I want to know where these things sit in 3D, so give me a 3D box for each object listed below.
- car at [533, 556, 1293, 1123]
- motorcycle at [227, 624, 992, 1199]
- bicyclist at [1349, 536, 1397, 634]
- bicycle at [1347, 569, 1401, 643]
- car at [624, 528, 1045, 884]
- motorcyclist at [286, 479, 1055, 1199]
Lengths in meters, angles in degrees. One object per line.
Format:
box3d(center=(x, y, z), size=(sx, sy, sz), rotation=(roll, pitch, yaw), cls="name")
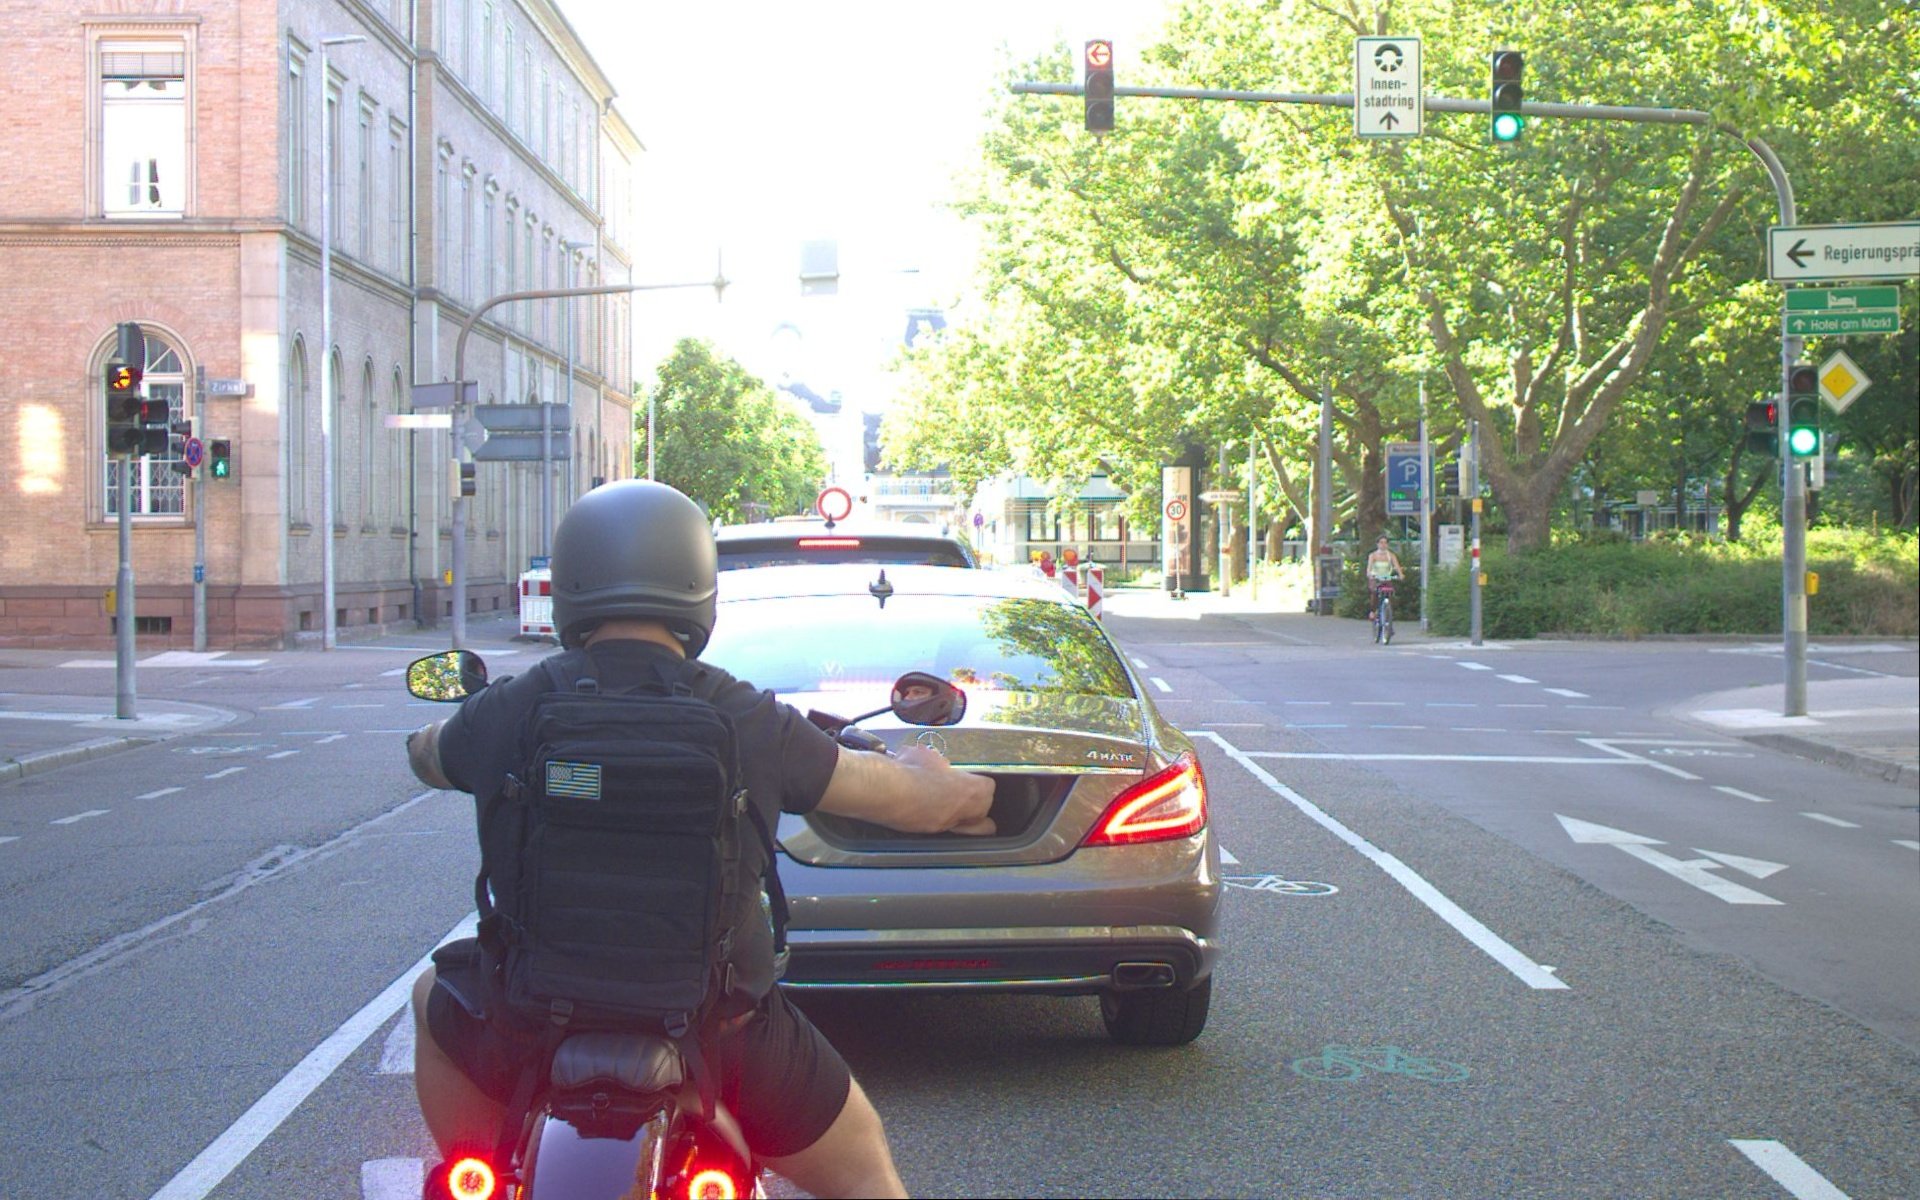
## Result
box3d(center=(-0.371, 0.589, 11.117), size=(1.901, 1.436, 4.290), rotation=(0, 1, -8), cls="car")
box3d(center=(-0.463, 0.741, 5.531), size=(0.962, 1.352, 2.320), rotation=(1, 1, -1), cls="motorcycle")
box3d(center=(6.738, -0.247, 56.119), size=(0.716, 1.577, 0.936), rotation=(1, 0, 5), cls="bicyclist")
box3d(center=(6.735, 0.085, 55.999), size=(0.716, 1.168, 2.176), rotation=(1, 1, 3), cls="bicycle")
box3d(center=(-0.645, 0.421, 16.762), size=(1.813, 1.530, 3.849), rotation=(0, 1, -3), cls="car")
box3d(center=(-0.413, 0.622, 5.260), size=(1.061, 1.577, 0.908), rotation=(1, 0, -1), cls="motorcyclist")
